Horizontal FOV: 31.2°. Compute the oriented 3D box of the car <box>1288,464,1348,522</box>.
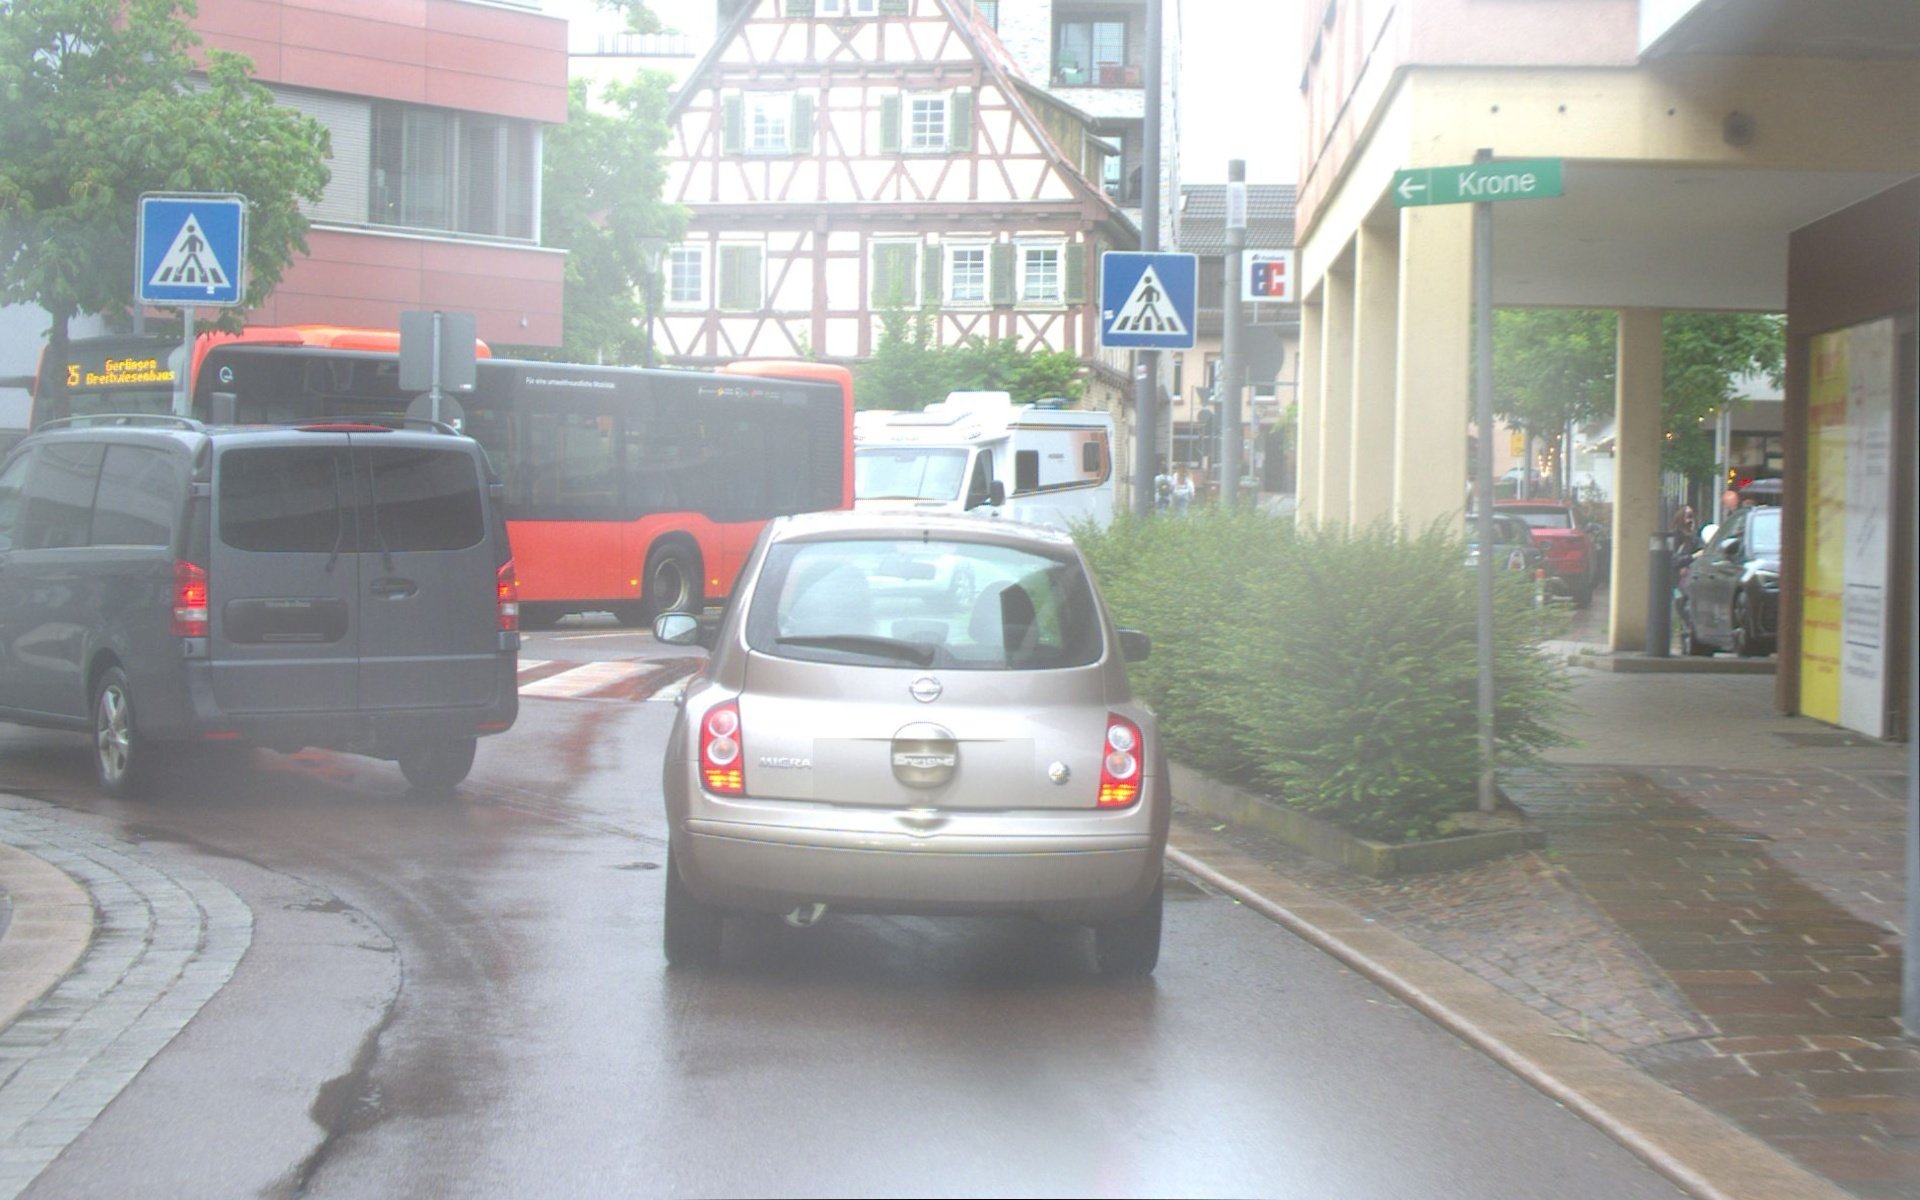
[{"bbox_3d":[10.983,-3.270,105.387,1.587,1.706,3.320,2,2,9],"label":"car"}]

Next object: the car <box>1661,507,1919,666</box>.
[{"bbox_3d":[7.337,-0.161,30.179,1.763,1.271,4.471,1,1,4],"label":"car"}]

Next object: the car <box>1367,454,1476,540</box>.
[{"bbox_3d":[8.839,-1.972,66.081,1.897,1.568,3.999,1,1,6],"label":"car"}]

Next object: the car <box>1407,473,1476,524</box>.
[{"bbox_3d":[14.690,-3.082,104.982,1.897,1.503,3.909,1,1,6],"label":"car"}]

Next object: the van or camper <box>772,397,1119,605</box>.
[{"bbox_3d":[-0.058,-1.333,46.969,2.440,2.576,6.744,2,2,21],"label":"van or camper"}]

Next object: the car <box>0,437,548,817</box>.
[{"bbox_3d":[-4.106,0.048,18.582,1.946,1.774,4.727,0,2,-31],"label":"car"}]

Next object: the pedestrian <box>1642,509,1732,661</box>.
[{"bbox_3d":[8.039,-0.174,38.017,0.697,1.655,0.819,2,2,34],"label":"pedestrian"}]

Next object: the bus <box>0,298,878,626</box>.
[{"bbox_3d":[-5.256,-1.457,37.481,2.819,3.077,10.586,4,3,36],"label":"bus"}]

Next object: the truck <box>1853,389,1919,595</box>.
[{"bbox_3d":[9.340,-0.952,30.971,1.763,1.802,4.000,1,1,4],"label":"truck"}]

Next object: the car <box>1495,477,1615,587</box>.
[{"bbox_3d":[8.686,-1.015,50.374,1.624,1.495,3.999,-1,2,9],"label":"car"}]

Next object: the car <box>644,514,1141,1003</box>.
[{"bbox_3d":[-0.296,0.455,12.325,1.522,1.465,3.342,1,2,-3],"label":"car"}]

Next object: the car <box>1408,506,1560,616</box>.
[{"bbox_3d":[6.992,-0.550,45.666,1.538,1.357,3.371,2,2,16],"label":"car"}]
